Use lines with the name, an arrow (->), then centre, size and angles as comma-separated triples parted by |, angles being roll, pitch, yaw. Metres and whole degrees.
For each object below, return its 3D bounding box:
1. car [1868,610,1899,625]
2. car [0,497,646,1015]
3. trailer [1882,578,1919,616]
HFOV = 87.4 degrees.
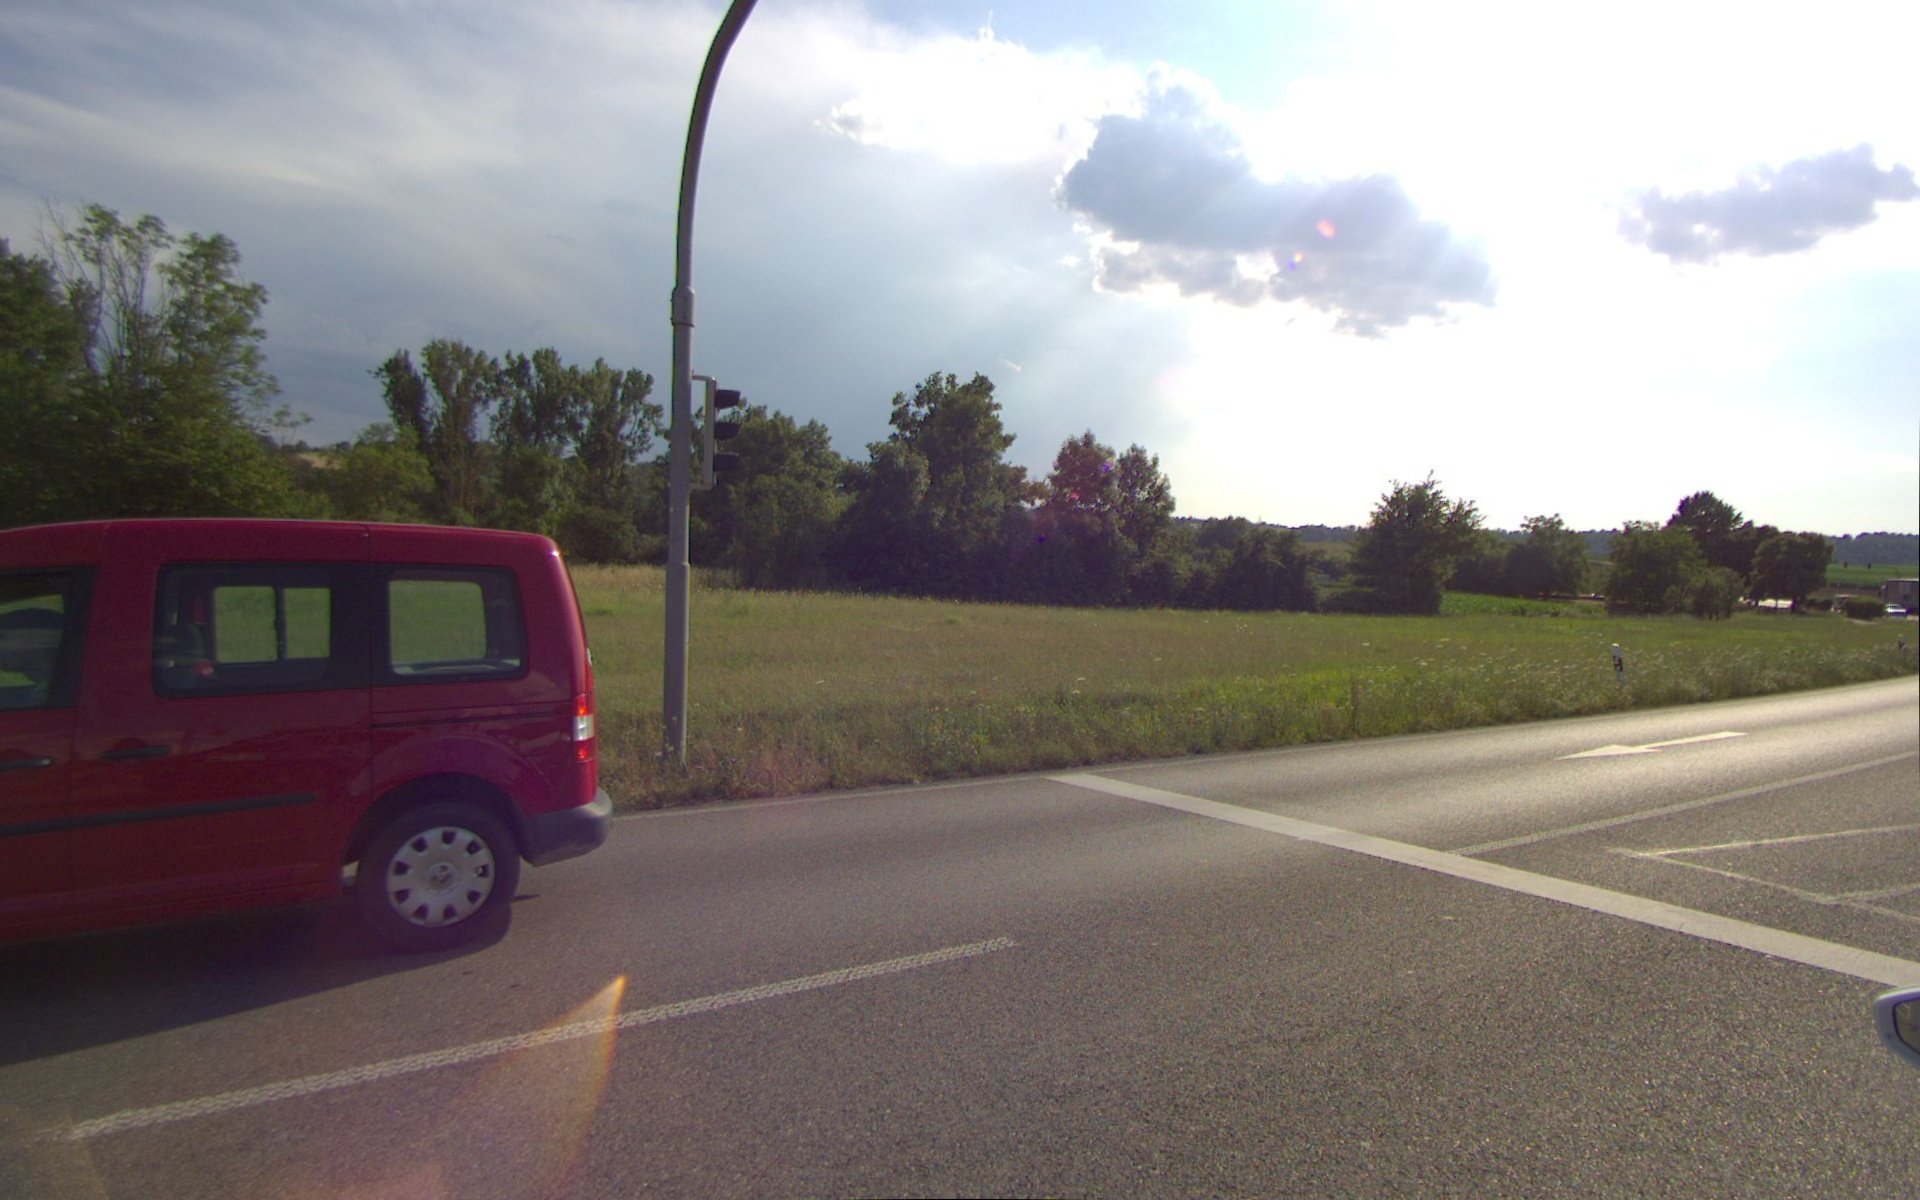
car -> 100.550, 1.894, 109.418 | 1.682, 1.447, 4.168 | 2, 1, 31
car -> -3.755, 0.551, 4.338 | 4.272, 1.799, 1.871 | 1, -1, -31
trailer -> 114.449, -0.299, 119.532 | 3.325, 4.409, 14.270 | 2, 1, 28
